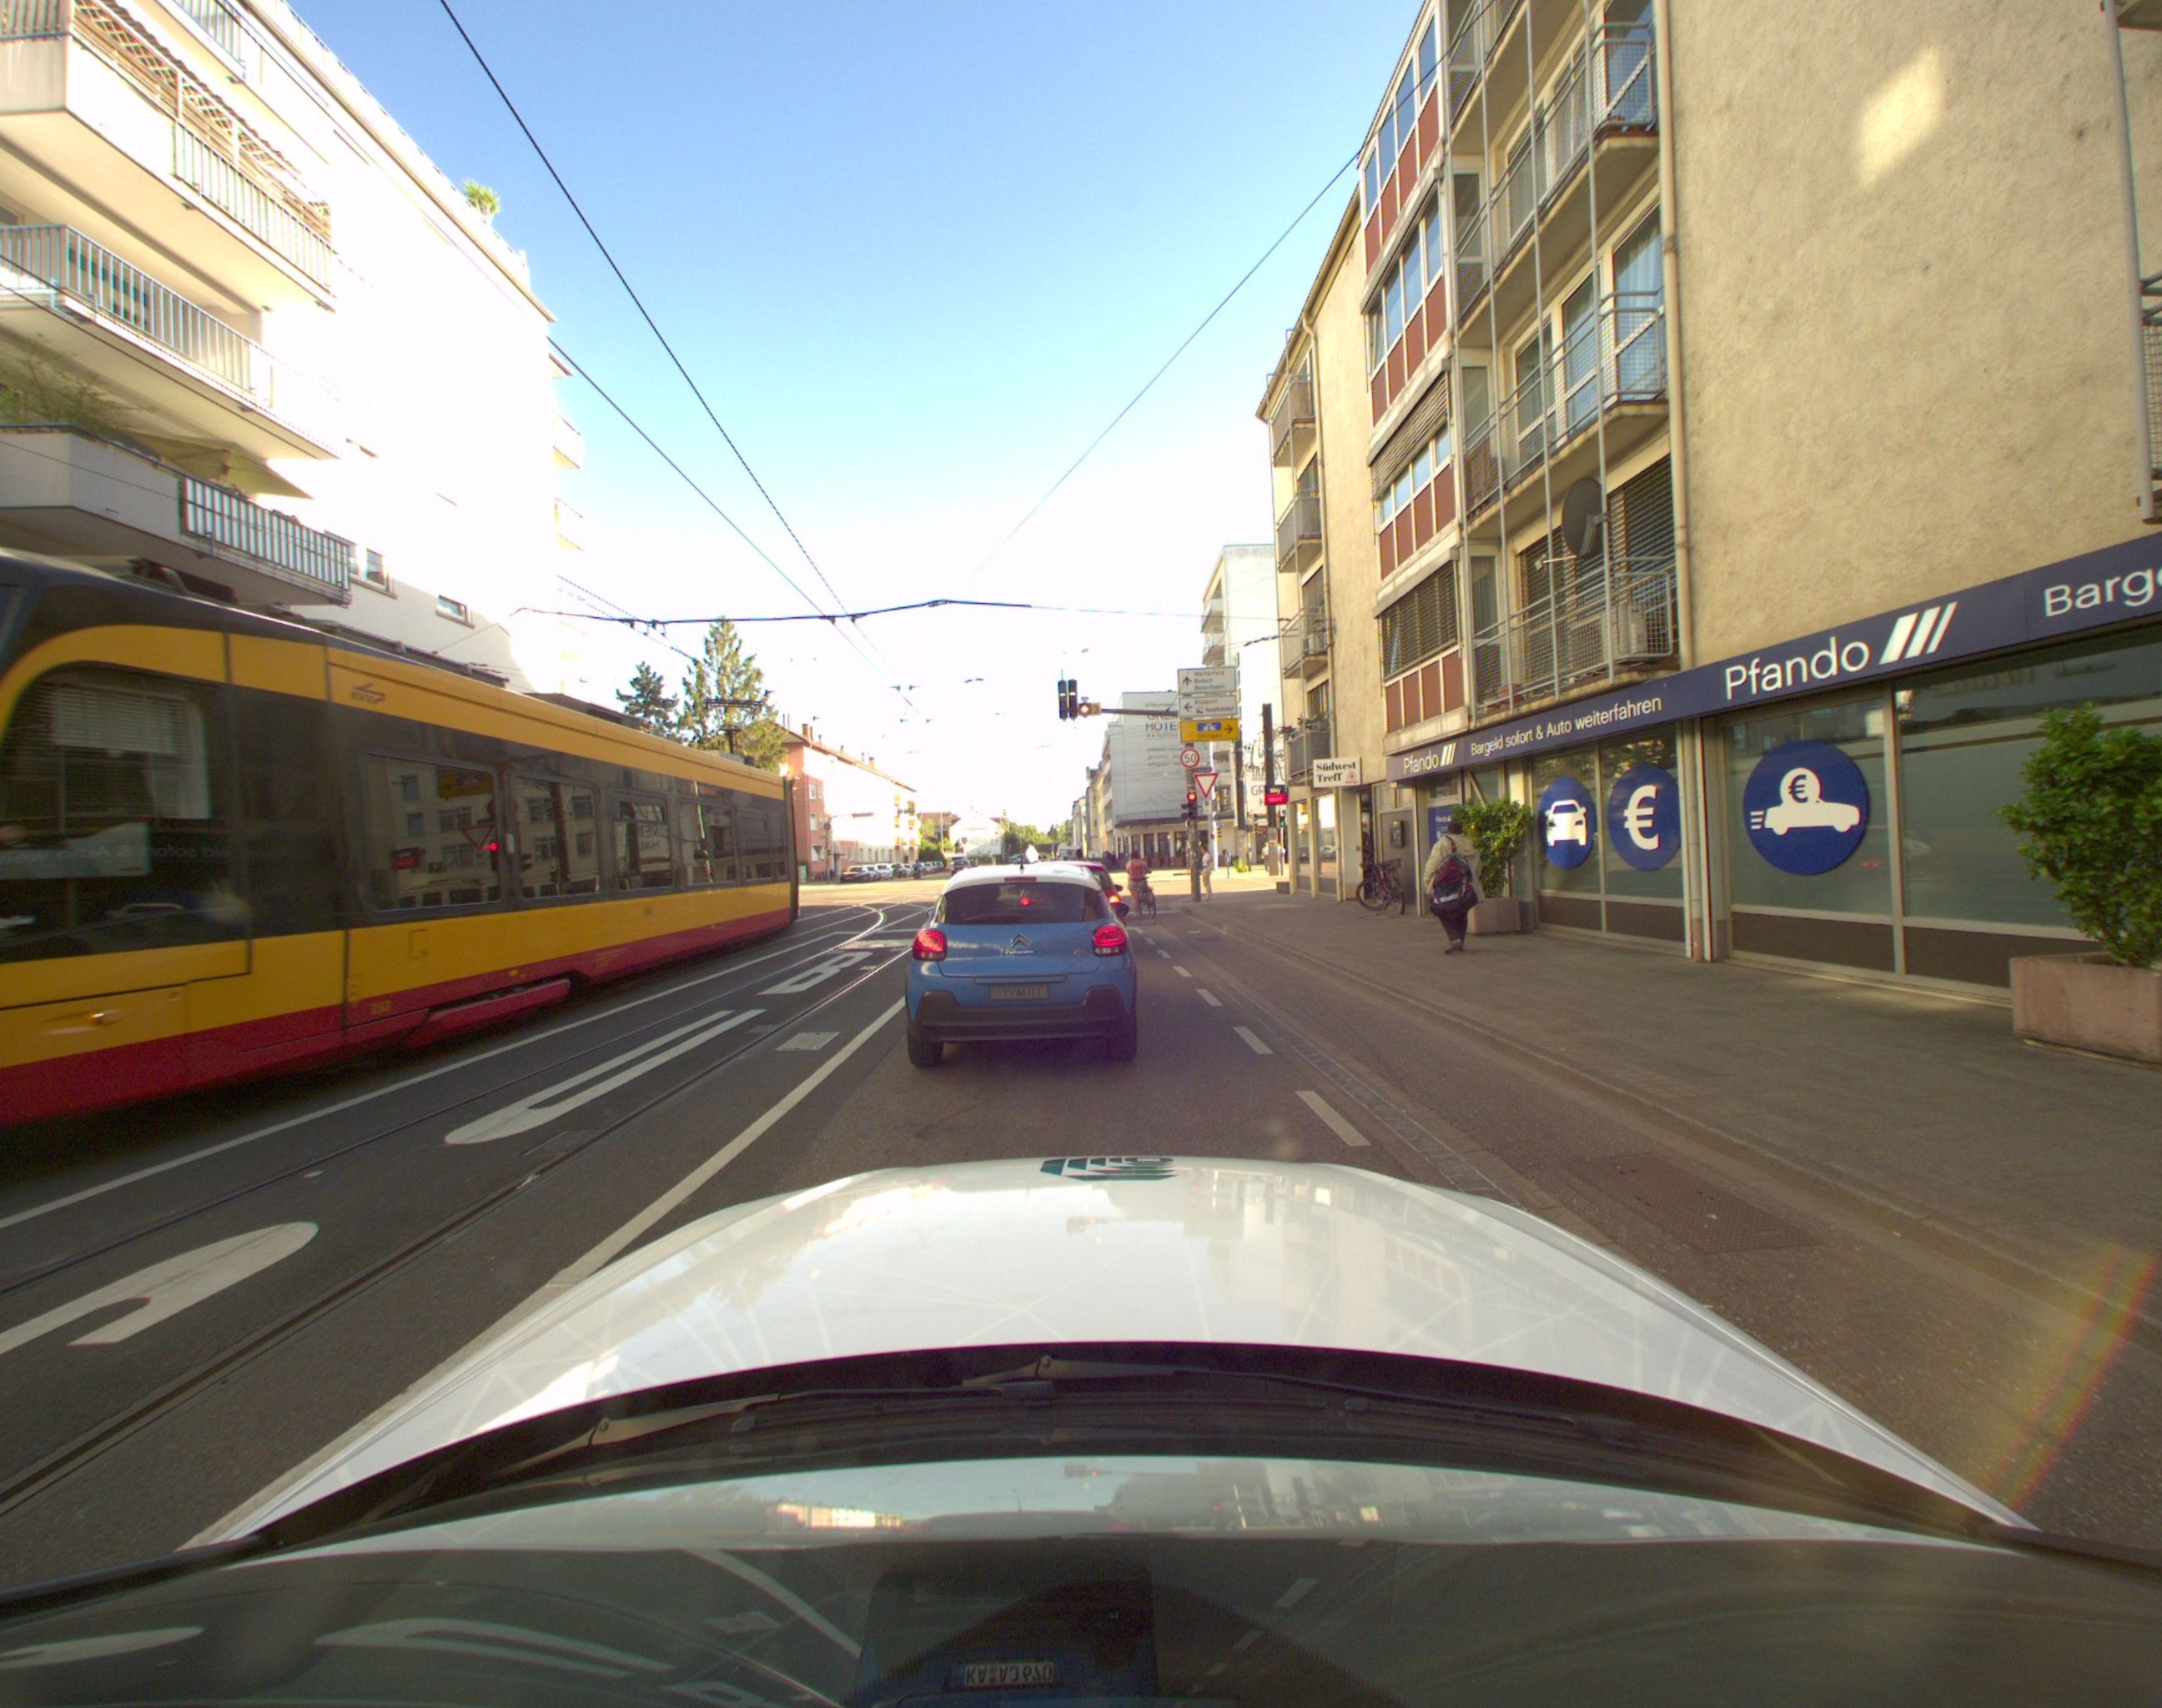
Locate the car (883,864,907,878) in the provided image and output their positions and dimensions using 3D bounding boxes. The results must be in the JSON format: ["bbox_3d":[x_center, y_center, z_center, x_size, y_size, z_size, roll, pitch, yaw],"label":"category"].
[{"bbox_3d":[-19.774,1.791,86.706,1.781,1.498,3.998,0,-1,-1],"label":"car"}]

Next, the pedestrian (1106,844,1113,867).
[{"bbox_3d":[2.489,0.145,70.410,0.575,2.014,0.625,0,-1,-1],"label":"pedestrian"}]

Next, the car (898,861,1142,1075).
[{"bbox_3d":[-0.361,0.787,7.285,1.648,1.444,3.524,0,-1,2],"label":"car"}]

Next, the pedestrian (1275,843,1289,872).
[{"bbox_3d":[11.539,0.202,46.662,0.746,1.657,0.887,-1,-1,15],"label":"pedestrian"}]

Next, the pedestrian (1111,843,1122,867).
[{"bbox_3d":[3.055,0.092,70.624,0.711,2.014,0.755,0,-1,-17],"label":"pedestrian"}]

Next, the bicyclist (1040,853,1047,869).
[{"bbox_3d":[-3.504,0.662,75.942,0.559,1.477,0.747,0,-1,-2],"label":"bicyclist"}]

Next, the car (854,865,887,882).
[{"bbox_3d":[-19.316,1.788,74.885,1.808,1.498,4.302,0,0,2],"label":"car"}]

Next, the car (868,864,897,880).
[{"bbox_3d":[-19.456,1.742,79.904,1.781,1.511,4.150,0,-1,1],"label":"car"}]

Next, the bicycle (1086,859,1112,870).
[{"bbox_3d":[1.533,0.879,67.757,2.130,0.901,0.366,0,-1,-7],"label":"bicycle"}]

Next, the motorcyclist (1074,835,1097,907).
[{"bbox_3d":[0.117,0.403,19.746,0.524,1.716,0.717,0,-1,2],"label":"motorcyclist"}]

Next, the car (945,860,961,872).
[{"bbox_3d":[-19.140,1.763,121.902,1.841,1.687,3.872,0,-1,-1],"label":"car"}]

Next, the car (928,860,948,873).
[{"bbox_3d":[-18.664,1.672,106.726,1.978,1.687,3.998,0,-1,-1],"label":"car"}]

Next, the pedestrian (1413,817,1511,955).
[{"bbox_3d":[4.554,0.369,9.791,0.822,1.593,0.751,0,-1,1],"label":"pedestrian"}]

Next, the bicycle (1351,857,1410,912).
[{"bbox_3d":[5.749,0.563,15.711,0.540,0.998,1.706,0,-1,2],"label":"bicycle"}]

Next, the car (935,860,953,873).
[{"bbox_3d":[-18.879,1.681,111.997,1.877,1.687,3.998,0,-1,-1],"label":"car"}]

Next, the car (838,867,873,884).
[{"bbox_3d":[-19.179,1.812,69.389,1.787,1.421,3.996,0,-1,1],"label":"car"}]

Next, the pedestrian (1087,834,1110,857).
[{"bbox_3d":[1.629,-0.727,73.687,1.986,2.014,4.001,0,-1,2],"label":"pedestrian"}]

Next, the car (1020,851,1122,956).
[{"bbox_3d":[-0.102,0.738,13.280,1.419,1.467,2.925,-2,-1,2],"label":"car"}]

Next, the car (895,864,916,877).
[{"bbox_3d":[-19.964,1.850,92.800,1.728,1.498,3.996,0,-1,-2],"label":"car"}]

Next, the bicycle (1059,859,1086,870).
[{"bbox_3d":[-0.711,0.877,66.387,2.130,0.901,0.366,0,-1,-7],"label":"bicycle"}]

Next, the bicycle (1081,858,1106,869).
[{"bbox_3d":[1.052,0.820,68.452,2.130,0.901,0.366,0,-1,-7],"label":"bicycle"}]

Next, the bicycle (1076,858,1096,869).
[{"bbox_3d":[0.413,0.822,69.589,1.765,0.901,0.369,-1,-1,36],"label":"bicycle"}]

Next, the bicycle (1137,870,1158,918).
[{"bbox_3d":[1.675,0.976,20.621,0.426,1.123,1.999,0,-1,2],"label":"bicycle"}]

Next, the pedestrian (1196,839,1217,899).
[{"bbox_3d":[3.755,0.440,24.336,0.515,1.783,0.595,0,-1,0],"label":"pedestrian"}]

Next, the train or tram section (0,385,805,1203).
[{"bbox_3d":[-6.656,-0.170,9.691,3.056,3.594,12.612,-3,0,-4],"label":"train or tram section"}]

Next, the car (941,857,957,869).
[{"bbox_3d":[-18.999,1.307,117.277,1.828,1.687,3.998,0,-1,-1],"label":"car"}]

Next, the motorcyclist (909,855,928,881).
[{"bbox_3d":[-13.496,1.156,67.702,1.182,2.013,1.275,-2,0,-1],"label":"motorcyclist"}]

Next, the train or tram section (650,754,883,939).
[{"bbox_3d":[-7.294,-0.141,20.587,2.819,3.631,9.072,0,0,-3],"label":"train or tram section"}]

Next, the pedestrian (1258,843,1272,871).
[{"bbox_3d":[10.586,0.152,46.843,0.730,1.601,0.751,-1,-1,15],"label":"pedestrian"}]

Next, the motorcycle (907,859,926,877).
[{"bbox_3d":[-13.549,1.148,67.209,0.921,1.486,3.724,0,-1,-1],"label":"motorcycle"}]

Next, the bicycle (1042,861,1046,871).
[{"bbox_3d":[-3.449,1.074,75.861,0.348,0.903,1.858,0,-1,-1],"label":"bicycle"}]

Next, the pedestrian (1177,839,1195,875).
[{"bbox_3d":[6.056,0.173,46.944,0.922,2.014,0.760,0,-1,1],"label":"pedestrian"}]

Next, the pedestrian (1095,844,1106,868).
[{"bbox_3d":[1.625,0.182,69.293,0.635,2.014,0.717,0,-1,-34],"label":"pedestrian"}]

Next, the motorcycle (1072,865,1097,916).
[{"bbox_3d":[0.110,0.836,19.554,0.524,1.139,2.290,0,-1,2],"label":"motorcycle"}]

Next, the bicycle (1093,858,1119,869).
[{"bbox_3d":[2.026,0.769,66.119,2.130,0.901,0.366,0,-1,-7],"label":"bicycle"}]

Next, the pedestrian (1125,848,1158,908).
[{"bbox_3d":[1.506,0.596,20.320,0.774,1.460,0.682,0,-1,1],"label":"pedestrian"}]

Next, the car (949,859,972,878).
[{"bbox_3d":[-11.351,1.342,76.875,1.770,1.666,3.854,0,-1,-2],"label":"car"}]

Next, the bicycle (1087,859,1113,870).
[{"bbox_3d":[1.602,0.868,67.330,2.130,0.901,0.366,0,-1,-7],"label":"bicycle"}]
